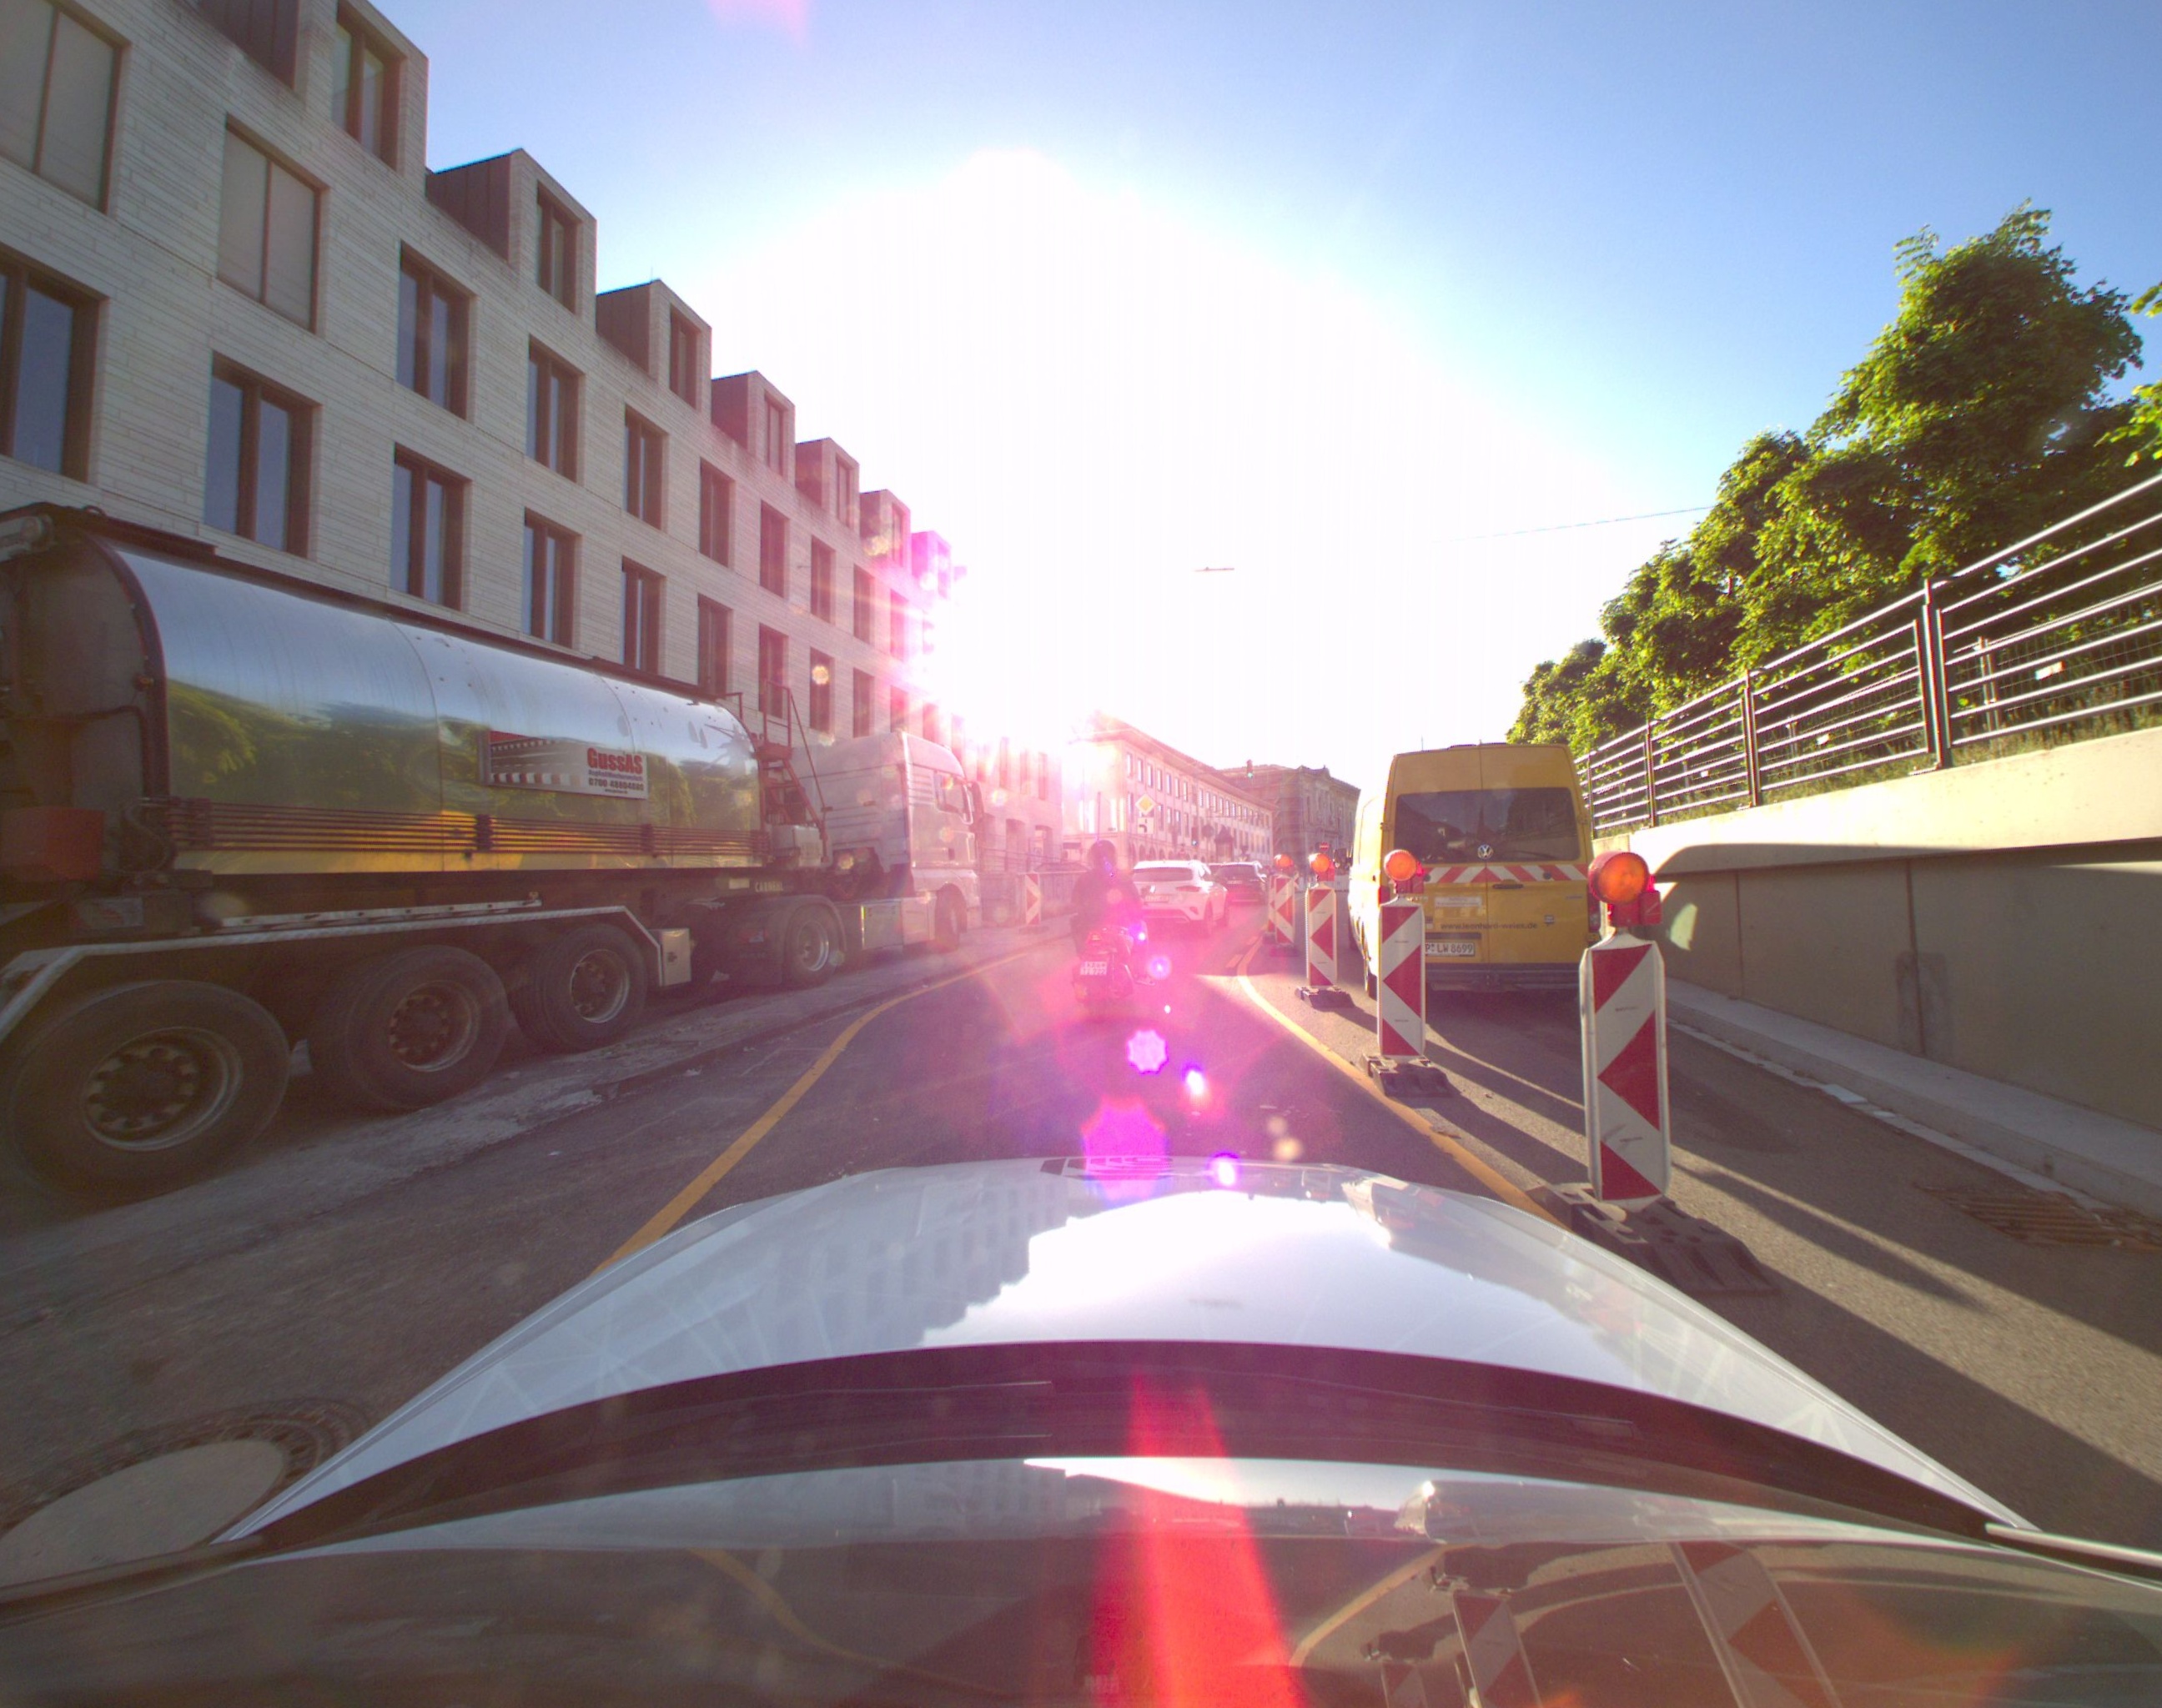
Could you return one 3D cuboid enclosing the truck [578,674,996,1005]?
[{"bbox_3d":[-3.709,-0.104,11.966,2.560,3.489,5.841,-6,-2,16],"label":"truck"}]

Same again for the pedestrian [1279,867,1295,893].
[{"bbox_3d":[14.036,1.778,55.494,0.956,1.710,0.679,-2,0,21],"label":"pedestrian"}]

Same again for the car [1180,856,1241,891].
[{"bbox_3d":[6.908,1.032,43.998,1.805,1.721,4.144,-1,0,-13],"label":"car"}]

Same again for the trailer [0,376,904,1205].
[{"bbox_3d":[-5.034,-0.193,7.607,2.623,3.669,8.782,-6,-2,14],"label":"trailer"}]

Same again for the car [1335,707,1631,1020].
[{"bbox_3d":[4.503,0.125,10.470,2.096,2.625,7.016,-2,-1,16],"label":"car"}]

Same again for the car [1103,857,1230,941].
[{"bbox_3d":[1.901,0.825,16.808,1.844,1.472,4.018,0,0,17],"label":"car"}]

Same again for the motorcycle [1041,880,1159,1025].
[{"bbox_3d":[0.286,0.903,8.367,0.901,1.183,2.584,-1,-1,8],"label":"motorcycle"}]

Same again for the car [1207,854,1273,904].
[{"bbox_3d":[5.579,0.891,28.208,1.760,1.550,4.124,-2,-3,17],"label":"car"}]

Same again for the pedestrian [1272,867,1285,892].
[{"bbox_3d":[13.128,1.667,54.147,0.718,1.624,0.623,-2,-1,21],"label":"pedestrian"}]

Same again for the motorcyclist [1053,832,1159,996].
[{"bbox_3d":[0.295,0.587,8.460,0.949,1.559,1.241,-1,-1,7],"label":"motorcyclist"}]
